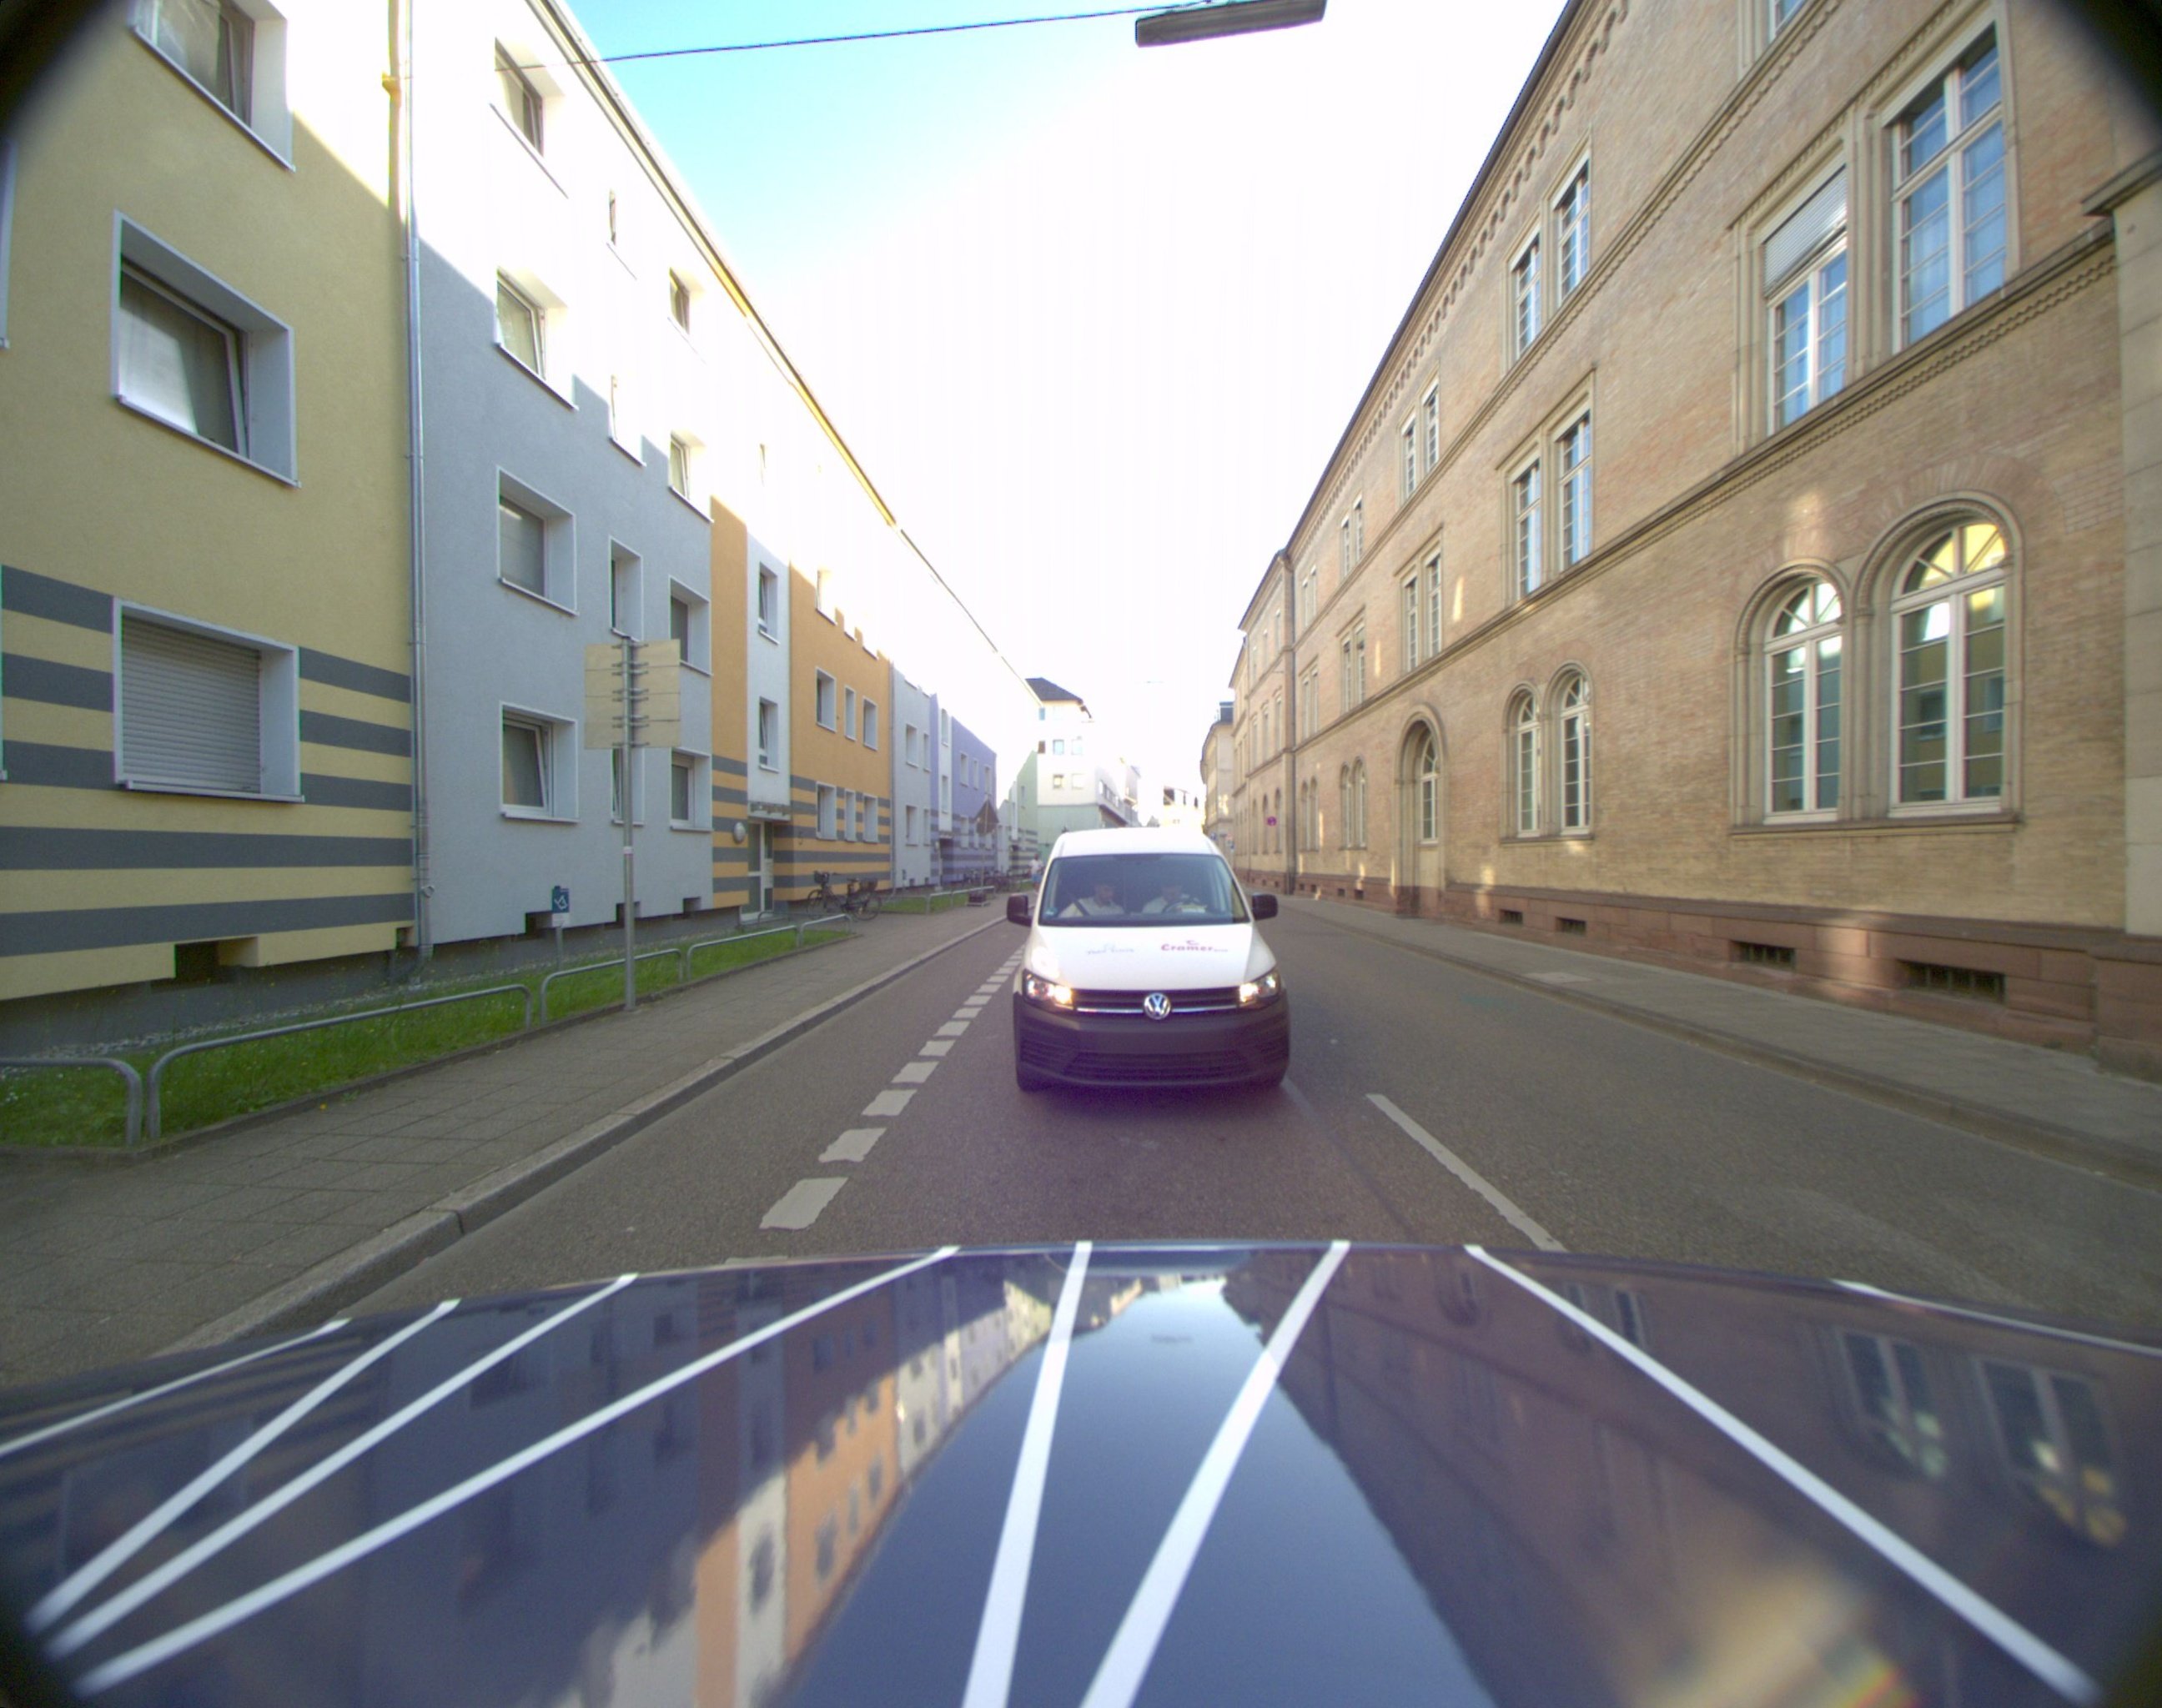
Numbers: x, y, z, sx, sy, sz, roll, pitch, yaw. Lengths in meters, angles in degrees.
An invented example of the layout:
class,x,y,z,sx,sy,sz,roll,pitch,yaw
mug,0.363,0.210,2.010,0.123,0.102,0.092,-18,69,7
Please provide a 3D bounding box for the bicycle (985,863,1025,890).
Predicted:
class,x,y,z,sx,sy,sz,roll,pitch,yaw
bicycle,-3.364,0.995,33.668,1.676,1.145,0.484,0,0,4

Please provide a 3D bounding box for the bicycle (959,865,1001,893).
class,x,y,z,sx,sy,sz,roll,pitch,yaw
bicycle,-4.228,1.039,31.829,1.676,1.145,0.484,0,0,4

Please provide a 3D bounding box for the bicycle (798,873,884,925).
class,x,y,z,sx,sy,sz,roll,pitch,yaw
bicycle,-5.378,1.011,17.092,1.780,1.116,0.484,0,0,-5

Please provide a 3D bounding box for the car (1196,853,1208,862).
class,x,y,z,sx,sy,sz,roll,pitch,yaw
car,26.106,0.742,163.739,1.996,1.643,4.233,-2,1,17

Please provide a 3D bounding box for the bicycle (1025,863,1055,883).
class,x,y,z,sx,sy,sz,roll,pitch,yaw
bicycle,-2.507,1.141,46.039,1.779,1.145,0.484,0,0,0

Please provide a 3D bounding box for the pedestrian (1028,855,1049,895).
class,x,y,z,sx,sy,sz,roll,pitch,yaw
pedestrian,-1.790,0.862,31.851,0.705,1.627,0.833,2,2,5

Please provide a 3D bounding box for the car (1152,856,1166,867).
class,x,y,z,sx,sy,sz,roll,pitch,yaw
car,12.660,1.151,122.687,1.997,1.643,4.231,-2,1,9

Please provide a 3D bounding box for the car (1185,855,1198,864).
class,x,y,z,sx,sy,sz,roll,pitch,yaw
car,22.123,1.031,152.008,1.996,1.643,4.233,-2,1,17

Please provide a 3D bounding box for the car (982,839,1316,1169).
class,x,y,z,sx,sy,sz,roll,pitch,yaw
car,0.401,0.777,6.738,1.769,1.761,5.331,-1,1,1

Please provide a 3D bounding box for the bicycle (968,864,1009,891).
class,x,y,z,sx,sy,sz,roll,pitch,yaw
bicycle,-4.023,1.012,33.122,1.676,1.145,0.484,0,0,4
